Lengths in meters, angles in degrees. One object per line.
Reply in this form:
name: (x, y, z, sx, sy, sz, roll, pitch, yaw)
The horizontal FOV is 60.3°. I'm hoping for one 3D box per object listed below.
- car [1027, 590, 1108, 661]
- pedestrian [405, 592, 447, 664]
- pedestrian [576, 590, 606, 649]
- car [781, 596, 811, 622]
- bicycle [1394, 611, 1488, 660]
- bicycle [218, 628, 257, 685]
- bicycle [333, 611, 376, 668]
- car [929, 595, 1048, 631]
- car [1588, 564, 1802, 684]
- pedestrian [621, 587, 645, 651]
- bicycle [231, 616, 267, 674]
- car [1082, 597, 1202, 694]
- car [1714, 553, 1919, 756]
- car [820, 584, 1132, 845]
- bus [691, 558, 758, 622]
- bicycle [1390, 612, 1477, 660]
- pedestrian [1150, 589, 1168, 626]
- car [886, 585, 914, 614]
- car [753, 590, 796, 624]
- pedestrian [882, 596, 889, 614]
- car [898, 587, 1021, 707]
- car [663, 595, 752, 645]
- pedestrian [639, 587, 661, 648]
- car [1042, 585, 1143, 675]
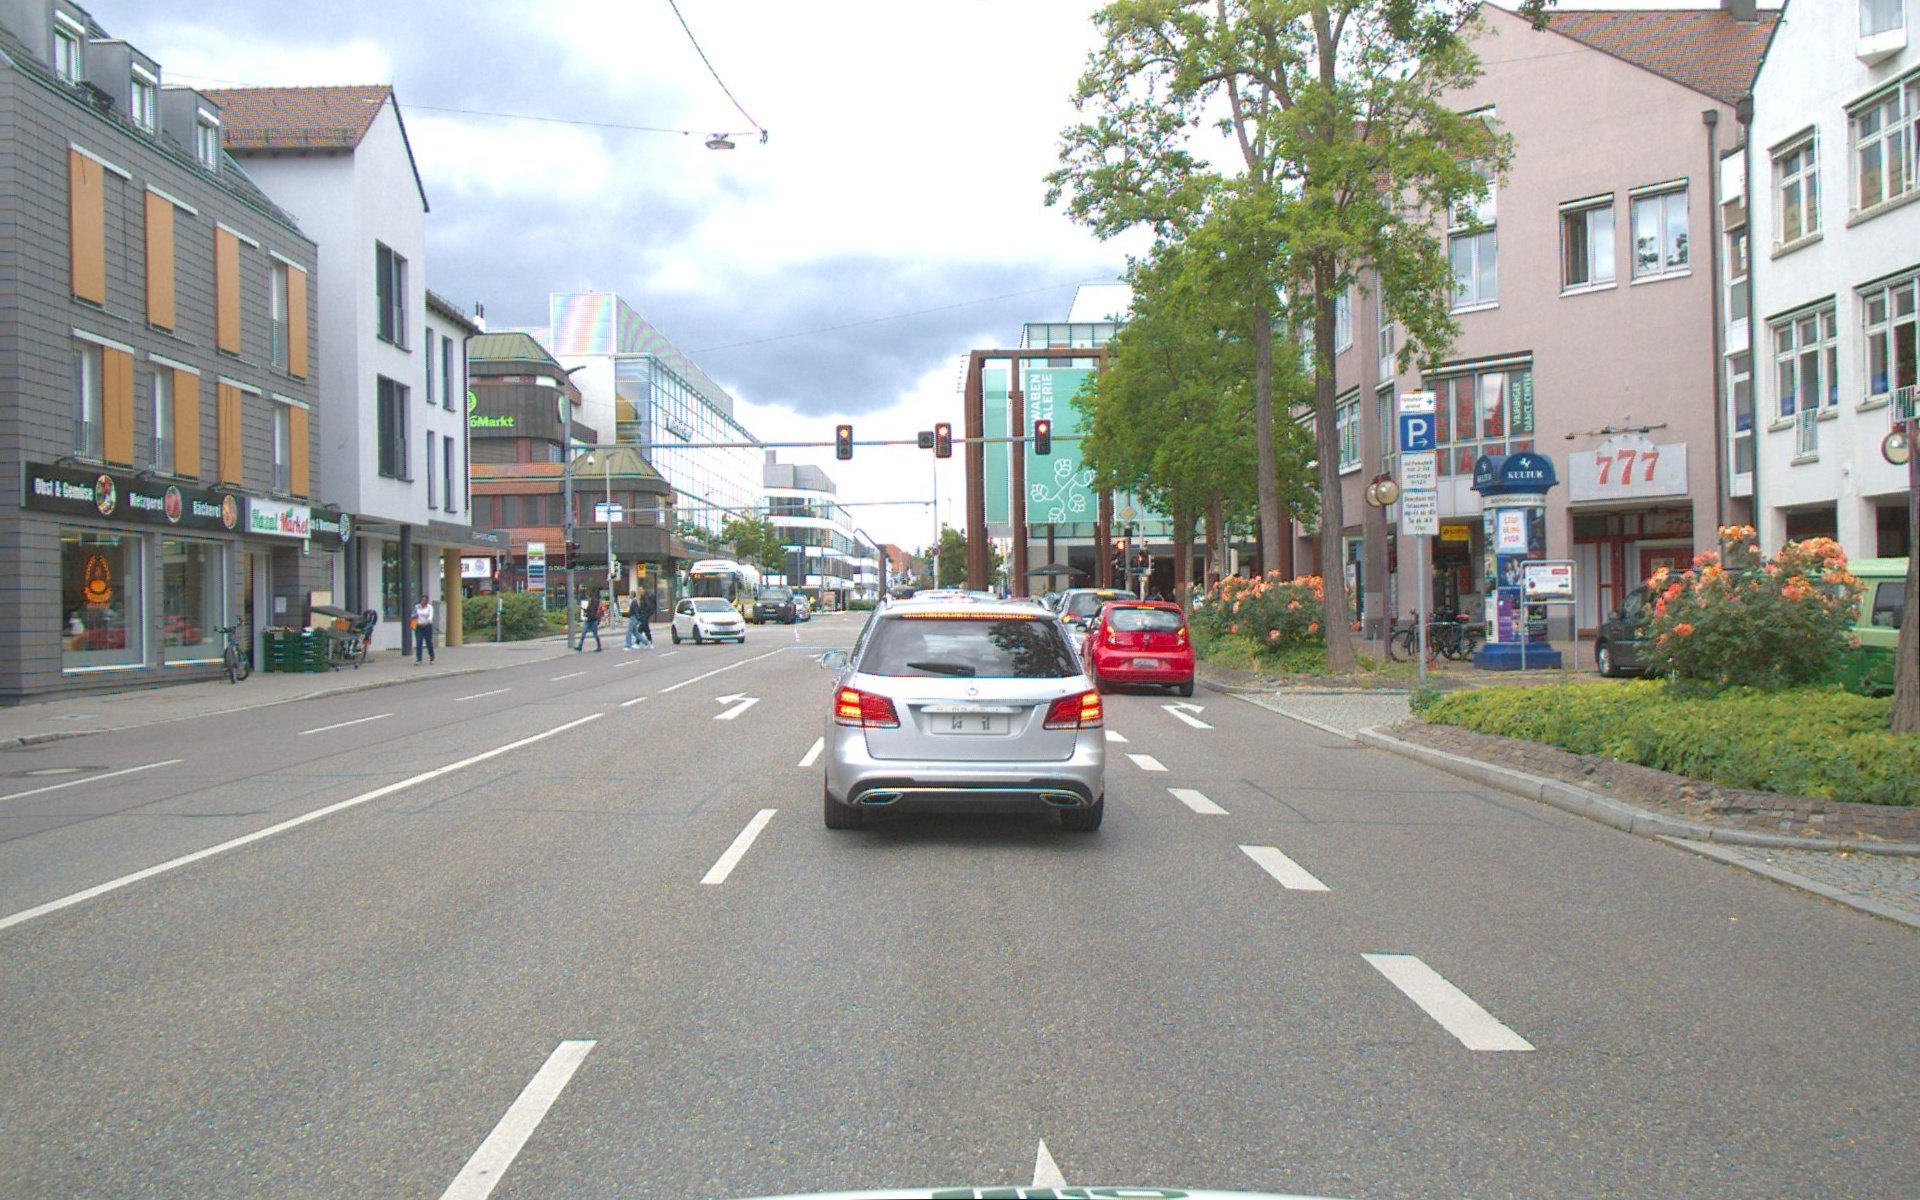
car: (2.579, 0.580, 40.224, 1.555, 1.623, 3.866, 1, 0, -2)
pedestrian: (-12.359, 0.647, 38.278, 0.713, 1.638, 0.753, -1, 0, 0)
pedestrian: (-10.560, 0.564, 47.344, 0.638, 1.679, 0.559, -1, 0, 21)
car: (-9.430, 0.497, 95.268, 1.523, 1.417, 3.287, 0, 0, -2)
bicycle: (10.215, 0.755, 35.171, 1.861, 1.014, 0.468, -1, 0, 4)
bicycle: (-13.036, 1.002, 29.856, 0.320, 0.970, 1.479, -1, 0, -11)
bicycle: (-13.428, 0.853, 36.707, 0.378, 1.207, 1.825, -1, 0, -3)
car: (1.132, 0.505, 65.591, 4.618, 1.393, 1.964, -1, 0, 0)
car: (12.446, 0.365, 28.274, 1.605, 1.863, 3.963, -2, 0, -5)
pedestrian: (-9.475, 0.545, 47.925, 0.635, 1.821, 0.682, -1, 0, -11)
bicycle: (-14.570, 0.916, 33.927, 0.379, 1.147, 1.287, -1, 0, -10)
car: (2.928, 0.697, 27.165, 1.554, 1.468, 3.348, 1, 0, 0)
car: (9.863, 0.480, 17.096, 1.842, 1.909, 4.603, -2, 0, -2)
car: (0.082, 0.666, 11.772, 1.778, 1.474, 4.369, 1, 0, 0)
bus: (-12.793, -0.536, 90.452, 2.632, 3.318, 8.650, 0, 0, -2)
bicycle: (10.220, 0.775, 35.718, 1.731, 1.014, 0.447, -1, 0, 4)
pedestrian: (9.137, 0.358, 75.852, 0.641, 1.679, 0.557, -1, 0, -15)
car: (-4.210, -0.071, 116.506, 1.953, 1.983, 4.949, 0, 0, -2)
car: (-9.809, 0.362, 87.661, 1.953, 1.736, 4.063, 0, 0, -2)
pedestrian: (-7.585, 0.518, 168.607, 0.508, 1.764, 0.489, -1, 0, 20)
car: (-0.019, 0.614, 23.463, 1.606, 1.554, 3.393, 1, 0, -1)
car: (-8.121, 0.633, 53.032, 1.559, 1.514, 3.425, -2, 0, -33)
pedestrian: (-9.248, 0.517, 49.330, 0.633, 1.806, 0.569, -1, 0, -12)
car: (2.601, 0.557, 33.218, 1.555, 1.662, 3.915, 1, 0, -2)
